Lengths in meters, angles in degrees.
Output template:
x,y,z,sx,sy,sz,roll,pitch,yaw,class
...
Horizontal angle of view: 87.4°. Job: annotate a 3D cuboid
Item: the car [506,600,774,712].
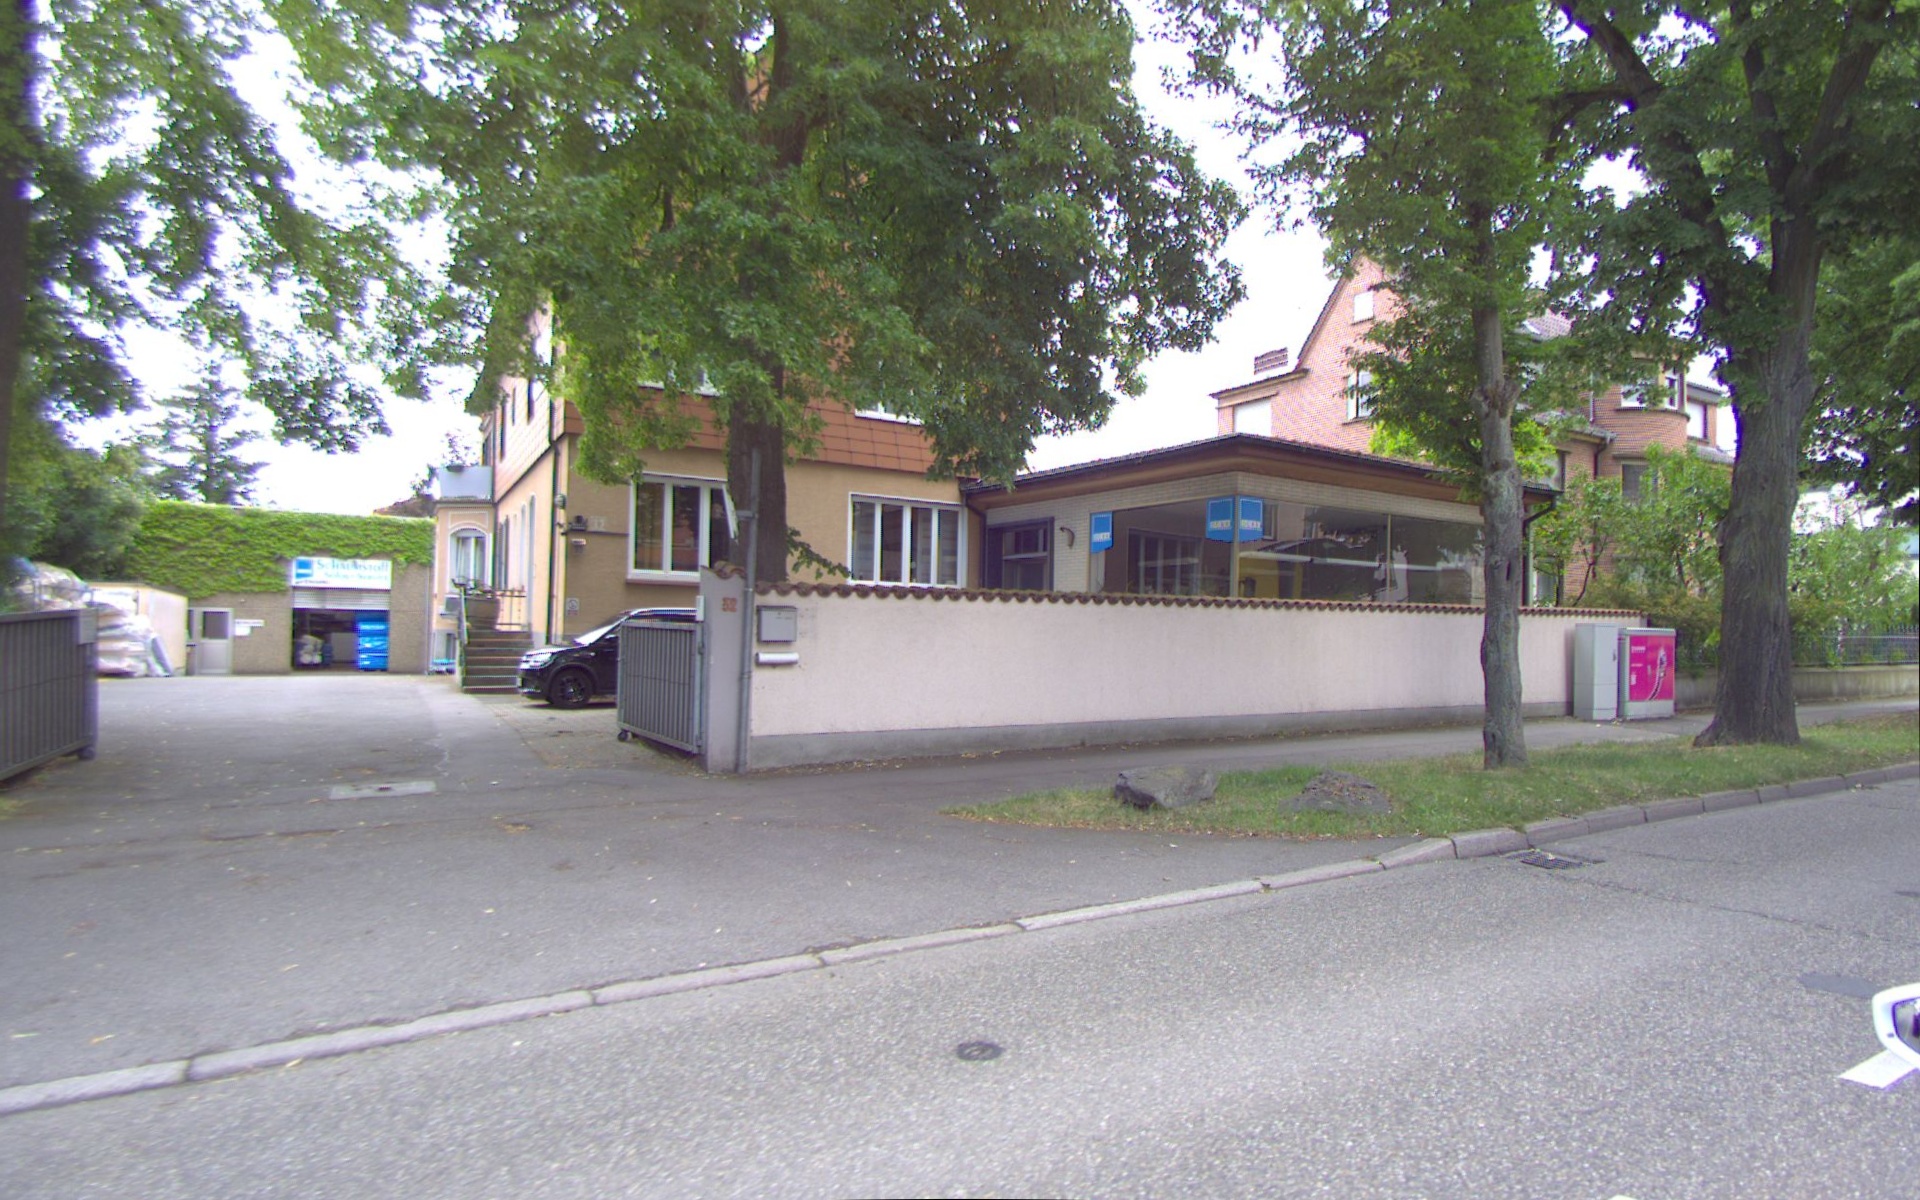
x,y,z,sx,sy,sz,roll,pitch,yaw,class
-5.311,0.900,16.799,3.955,1.661,1.771,2,-1,-31,car
